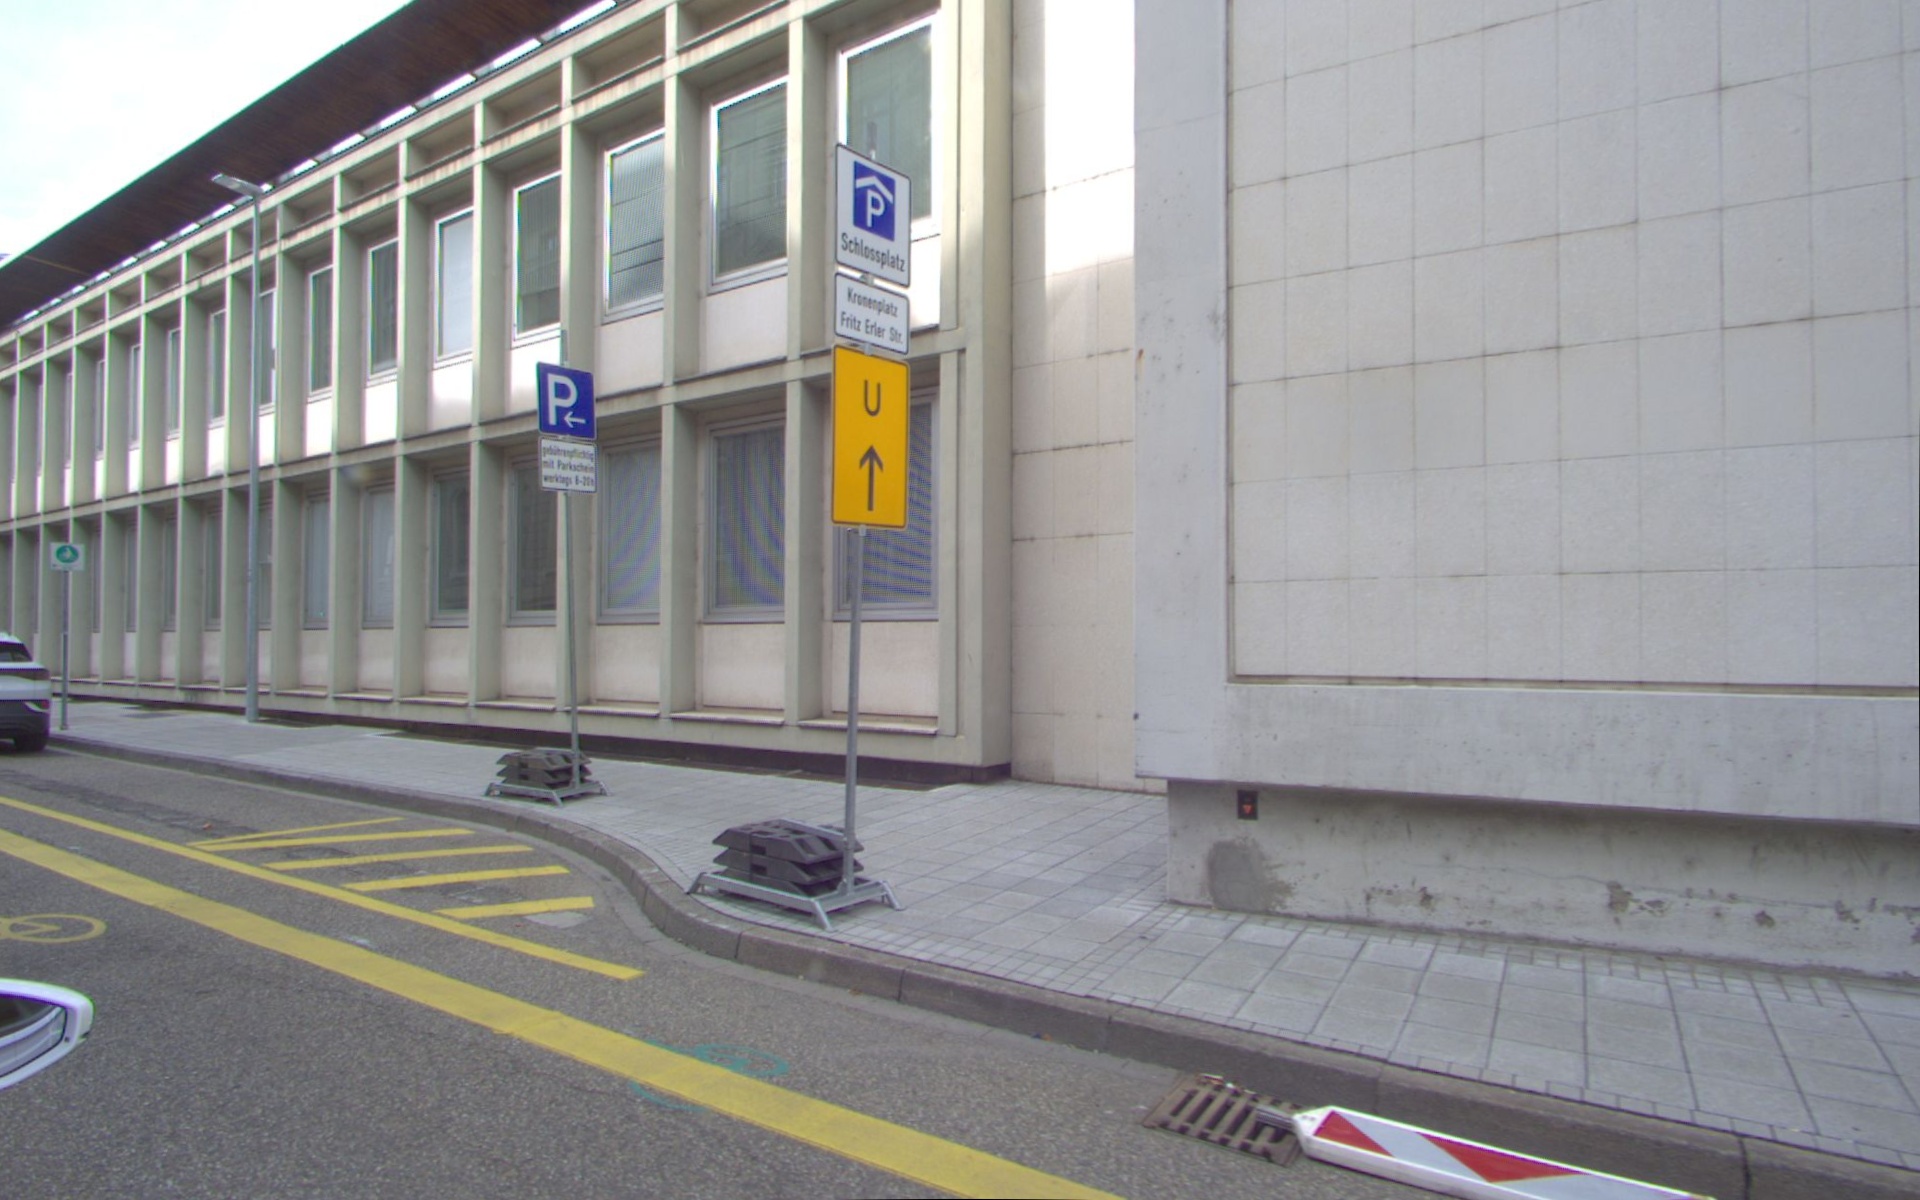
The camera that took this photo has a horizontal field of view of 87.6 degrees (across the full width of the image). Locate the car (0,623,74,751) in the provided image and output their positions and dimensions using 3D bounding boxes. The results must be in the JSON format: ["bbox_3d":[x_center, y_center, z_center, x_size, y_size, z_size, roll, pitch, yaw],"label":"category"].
[{"bbox_3d":[-14.176,1.132,13.834,4.452,1.624,1.857,-2,-5,35],"label":"car"}]
